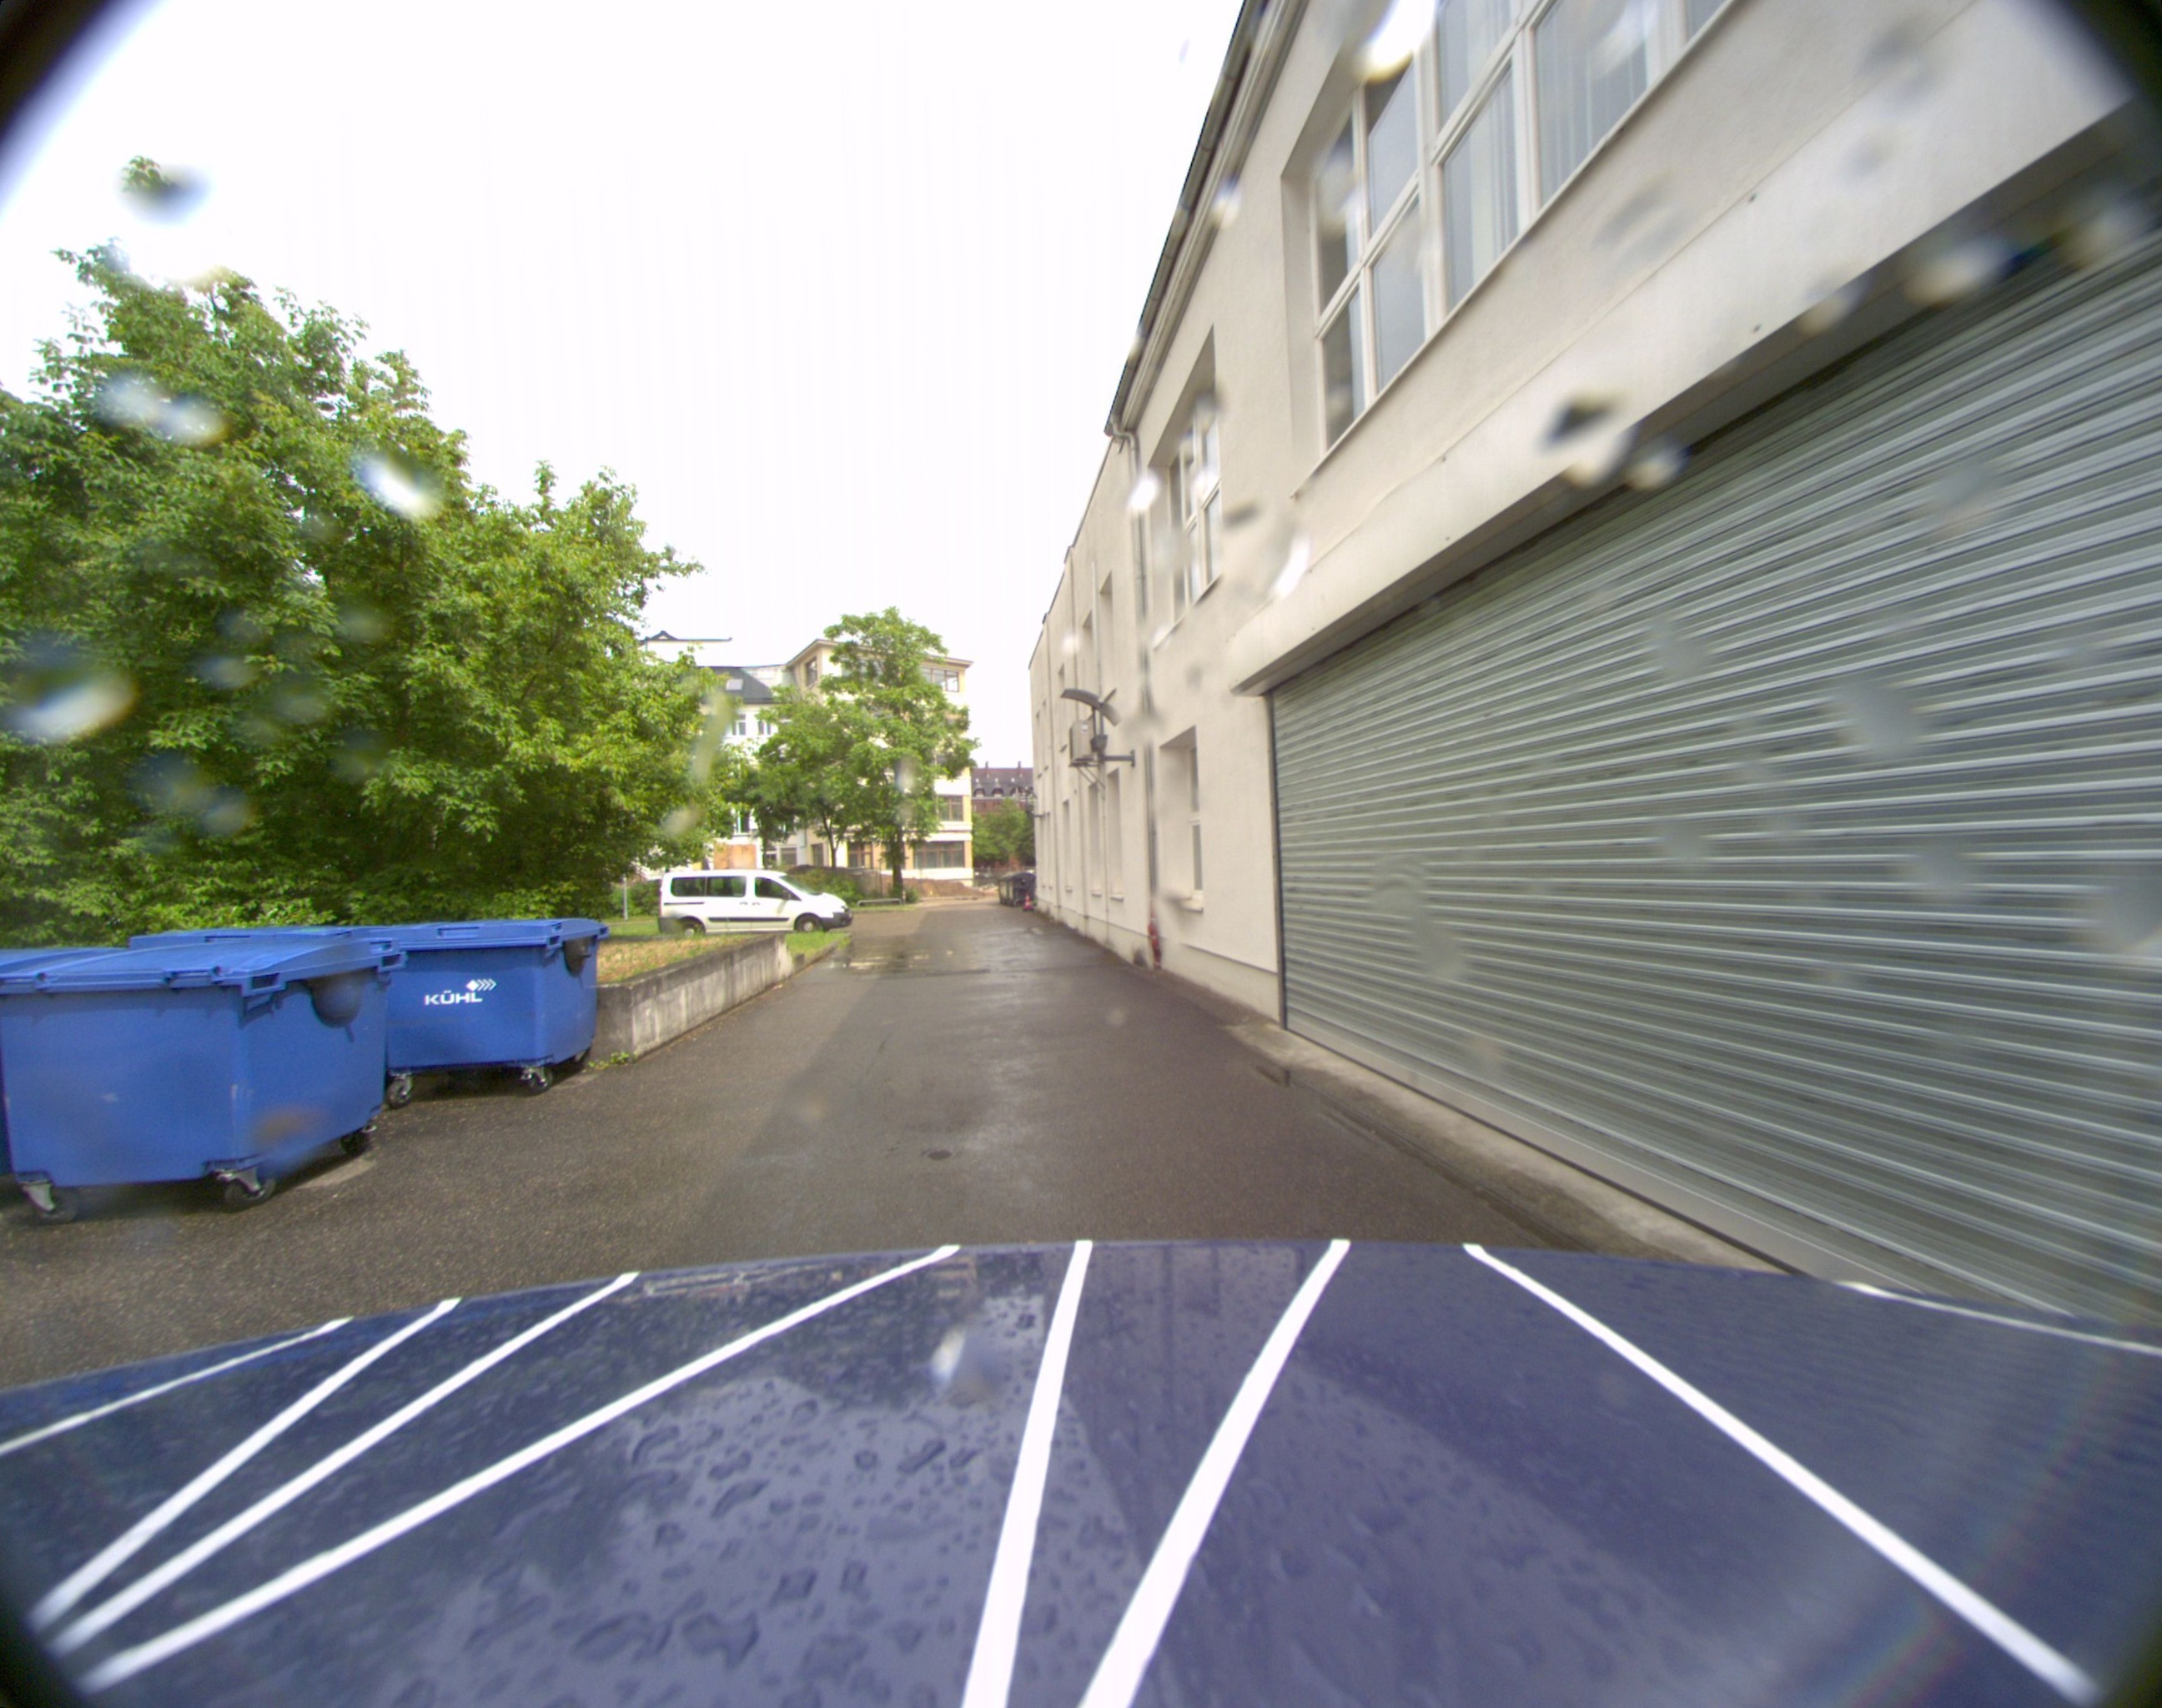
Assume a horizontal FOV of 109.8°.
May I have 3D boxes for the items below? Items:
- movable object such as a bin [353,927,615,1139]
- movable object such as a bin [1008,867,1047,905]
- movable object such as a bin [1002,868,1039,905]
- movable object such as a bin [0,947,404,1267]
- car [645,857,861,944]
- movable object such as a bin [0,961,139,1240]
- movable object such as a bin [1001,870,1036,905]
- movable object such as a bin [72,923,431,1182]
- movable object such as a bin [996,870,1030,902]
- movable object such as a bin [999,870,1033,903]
[{"bbox_3d":[-4.531,1.305,5.906,1.178,1.309,1.055,-4,-1,-10],"label":"movable object such as a bin"},{"bbox_3d":[-2.226,1.311,31.250,1.364,1.462,1.365,-4,-1,-10],"label":"movable object such as a bin"},{"bbox_3d":[-2.629,1.404,32.905,1.364,1.462,1.365,-4,-1,-10],"label":"movable object such as a bin"},{"bbox_3d":[-4.677,1.225,4.028,1.233,1.309,1.055,-2,-1,-10],"label":"movable object such as a bin"},{"bbox_3d":[-8.789,1.213,20.783,4.952,2.002,1.999,-3,0,-6],"label":"car"},{"bbox_3d":[-5.993,1.277,3.785,1.233,1.309,1.055,-2,-1,-10],"label":"movable object such as a bin"},{"bbox_3d":[-2.842,1.487,34.303,1.364,1.462,1.351,-4,-1,-10],"label":"movable object such as a bin"},{"bbox_3d":[-5.814,1.315,5.465,1.279,1.474,1.101,-4,-1,-10],"label":"movable object such as a bin"},{"bbox_3d":[-3.356,1.557,37.265,1.413,1.462,1.560,-4,-1,-10],"label":"movable object such as a bin"},{"bbox_3d":[-3.078,1.520,35.737,1.364,1.462,1.464,-4,-1,-10],"label":"movable object such as a bin"}]
